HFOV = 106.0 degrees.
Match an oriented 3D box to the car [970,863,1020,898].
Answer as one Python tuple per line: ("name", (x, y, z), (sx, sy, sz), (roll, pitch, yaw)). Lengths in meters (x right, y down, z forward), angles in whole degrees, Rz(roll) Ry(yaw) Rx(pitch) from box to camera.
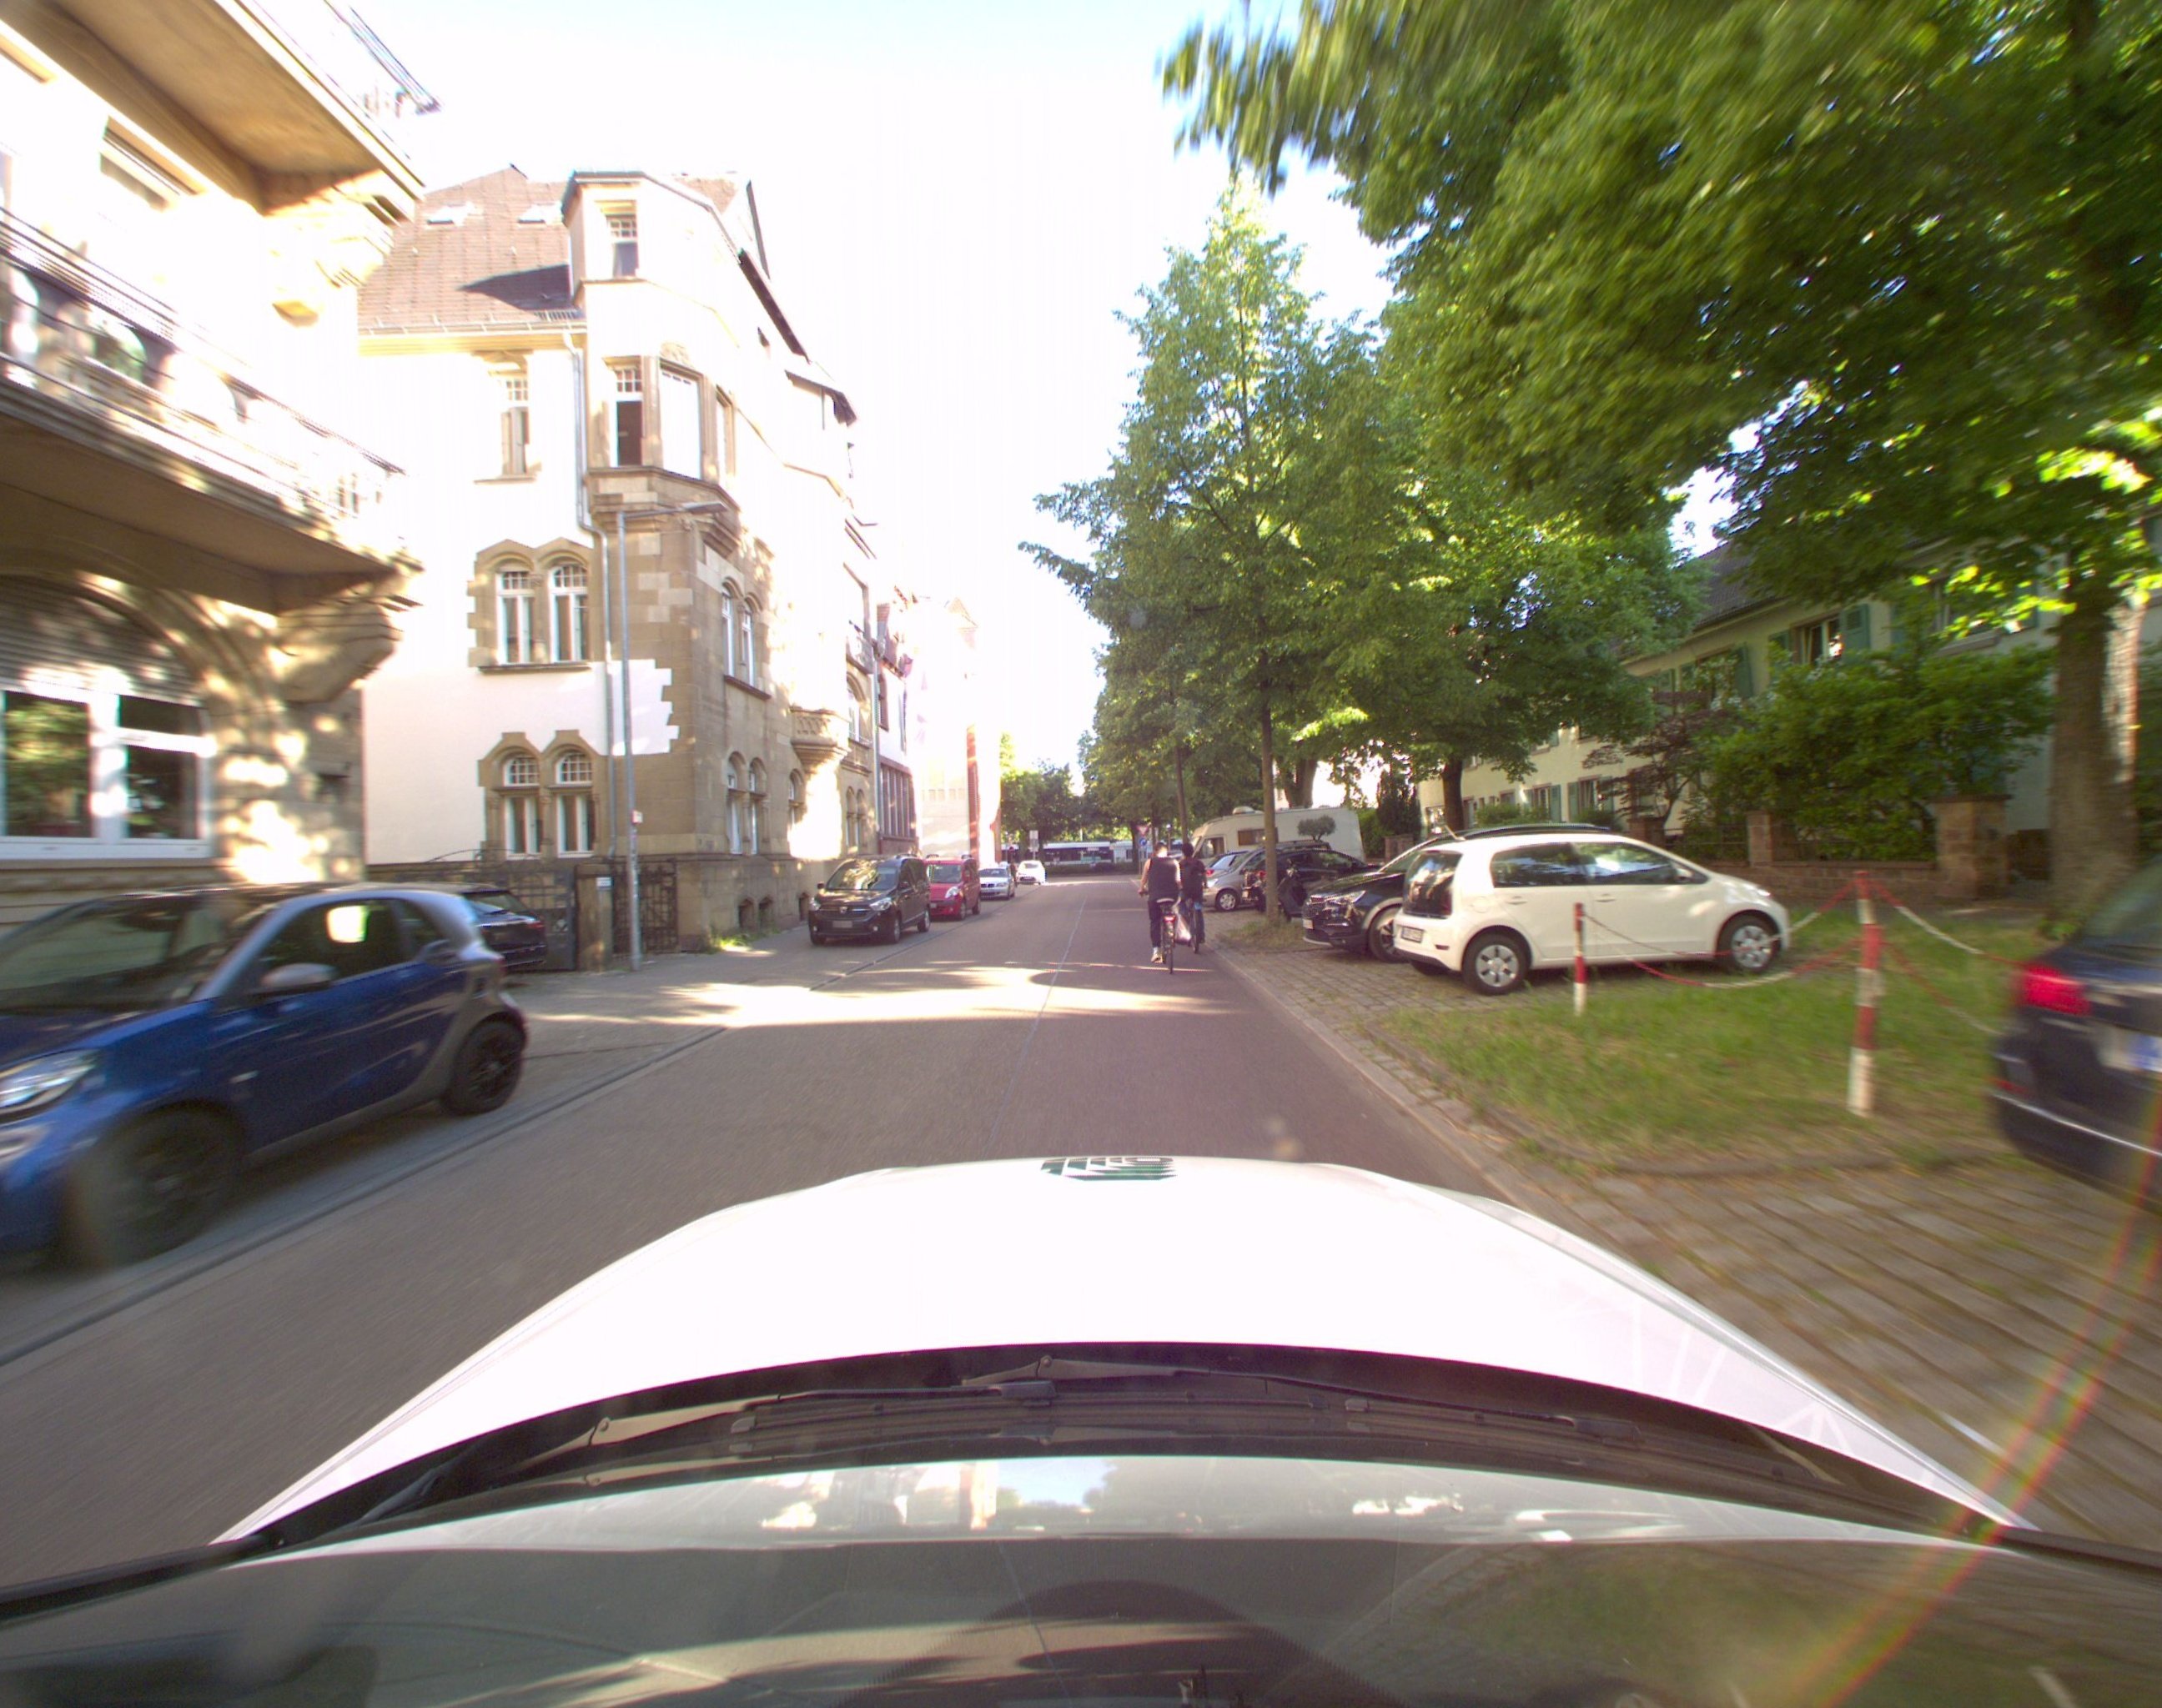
("car", (-3.645, 1.121, 35.255), (1.577, 1.343, 4.133), (0, 0, 2))

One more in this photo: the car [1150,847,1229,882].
("car", (5.784, 0.562, 43.794), (3.975, 1.803, 1.833), (-1, -1, -1))

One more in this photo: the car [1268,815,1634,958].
("car", (4.805, 0.443, 11.055), (4.121, 1.600, 1.704), (-3, -2, 3))

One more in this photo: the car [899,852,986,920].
("car", (-4.013, 0.857, 24.243), (1.682, 1.825, 4.275), (0, 0, 2))

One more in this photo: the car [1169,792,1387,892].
("car", (6.992, -0.410, 29.473), (7.127, 2.978, 2.463), (-4, -1, -2))

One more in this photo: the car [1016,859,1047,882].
("car", (-3.191, 1.055, 52.825), (1.577, 1.375, 4.133), (0, 0, 2))

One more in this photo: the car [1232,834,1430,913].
("car", (5.863, 0.473, 19.424), (4.127, 1.600, 1.701), (-3, -2, -1))

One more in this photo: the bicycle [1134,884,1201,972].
("bicycle", (1.156, 0.966, 11.238), (0.735, 1.054, 1.956), (0, -1, 0))

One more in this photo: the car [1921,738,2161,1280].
("car", (5.260, 0.354, 2.112), (4.205, 1.600, 1.692), (-3, -2, 3))

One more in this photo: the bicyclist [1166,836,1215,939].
("bicyclist", (1.801, 0.539, 13.524), (0.686, 1.626, 0.999), (-1, 0, 2))

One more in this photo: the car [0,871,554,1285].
("car", (-4.615, 0.893, 4.495), (1.590, 1.489, 2.736), (1, 0, 0))

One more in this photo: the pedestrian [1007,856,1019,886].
("pedestrian", (-3.826, 0.959, 45.796), (0.607, 1.679, 0.518), (-1, -1, 2))

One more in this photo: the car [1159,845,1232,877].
("car", (6.667, 0.404, 47.537), (3.975, 1.803, 1.833), (-1, -1, -1))

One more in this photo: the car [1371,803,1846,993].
("car", (5.216, 0.430, 8.468), (3.757, 1.599, 1.692), (-3, -1, 3))

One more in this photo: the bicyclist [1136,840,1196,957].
("bicyclist", (1.154, 0.594, 11.223), (0.727, 1.548, 0.884), (0, -1, 0))

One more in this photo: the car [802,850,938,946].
("car", (-4.364, 0.819, 17.528), (1.634, 1.783, 4.356), (0, 0, 2))

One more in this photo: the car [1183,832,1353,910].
("car", (4.957, 0.435, 21.924), (4.071, 1.650, 1.640), (-5, -1, -1))

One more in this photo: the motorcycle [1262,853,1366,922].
("motorcycle", (4.105, 0.594, 14.400), (1.587, 1.141, 0.677), (-3, -1, 34))

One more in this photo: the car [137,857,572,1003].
("car", (-9.452, 0.935, 10.853), (4.185, 1.668, 1.718), (-2, 0, 0))

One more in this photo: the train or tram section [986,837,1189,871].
("train or tram section", (1.072, -0.066, 95.293), (23.893, 3.708, 4.255), (-1, -1, -21))

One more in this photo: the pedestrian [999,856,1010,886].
("pedestrian", (-4.601, 1.004, 48.921), (0.607, 1.762, 0.432), (-1, -1, 1))

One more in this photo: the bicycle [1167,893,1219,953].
("bicycle", (1.827, 1.115, 13.521), (0.631, 0.799, 1.833), (-3, 0, 1))

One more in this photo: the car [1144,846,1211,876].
("car", (6.071, 0.472, 51.681), (3.975, 1.803, 1.833), (-1, -1, -1))
